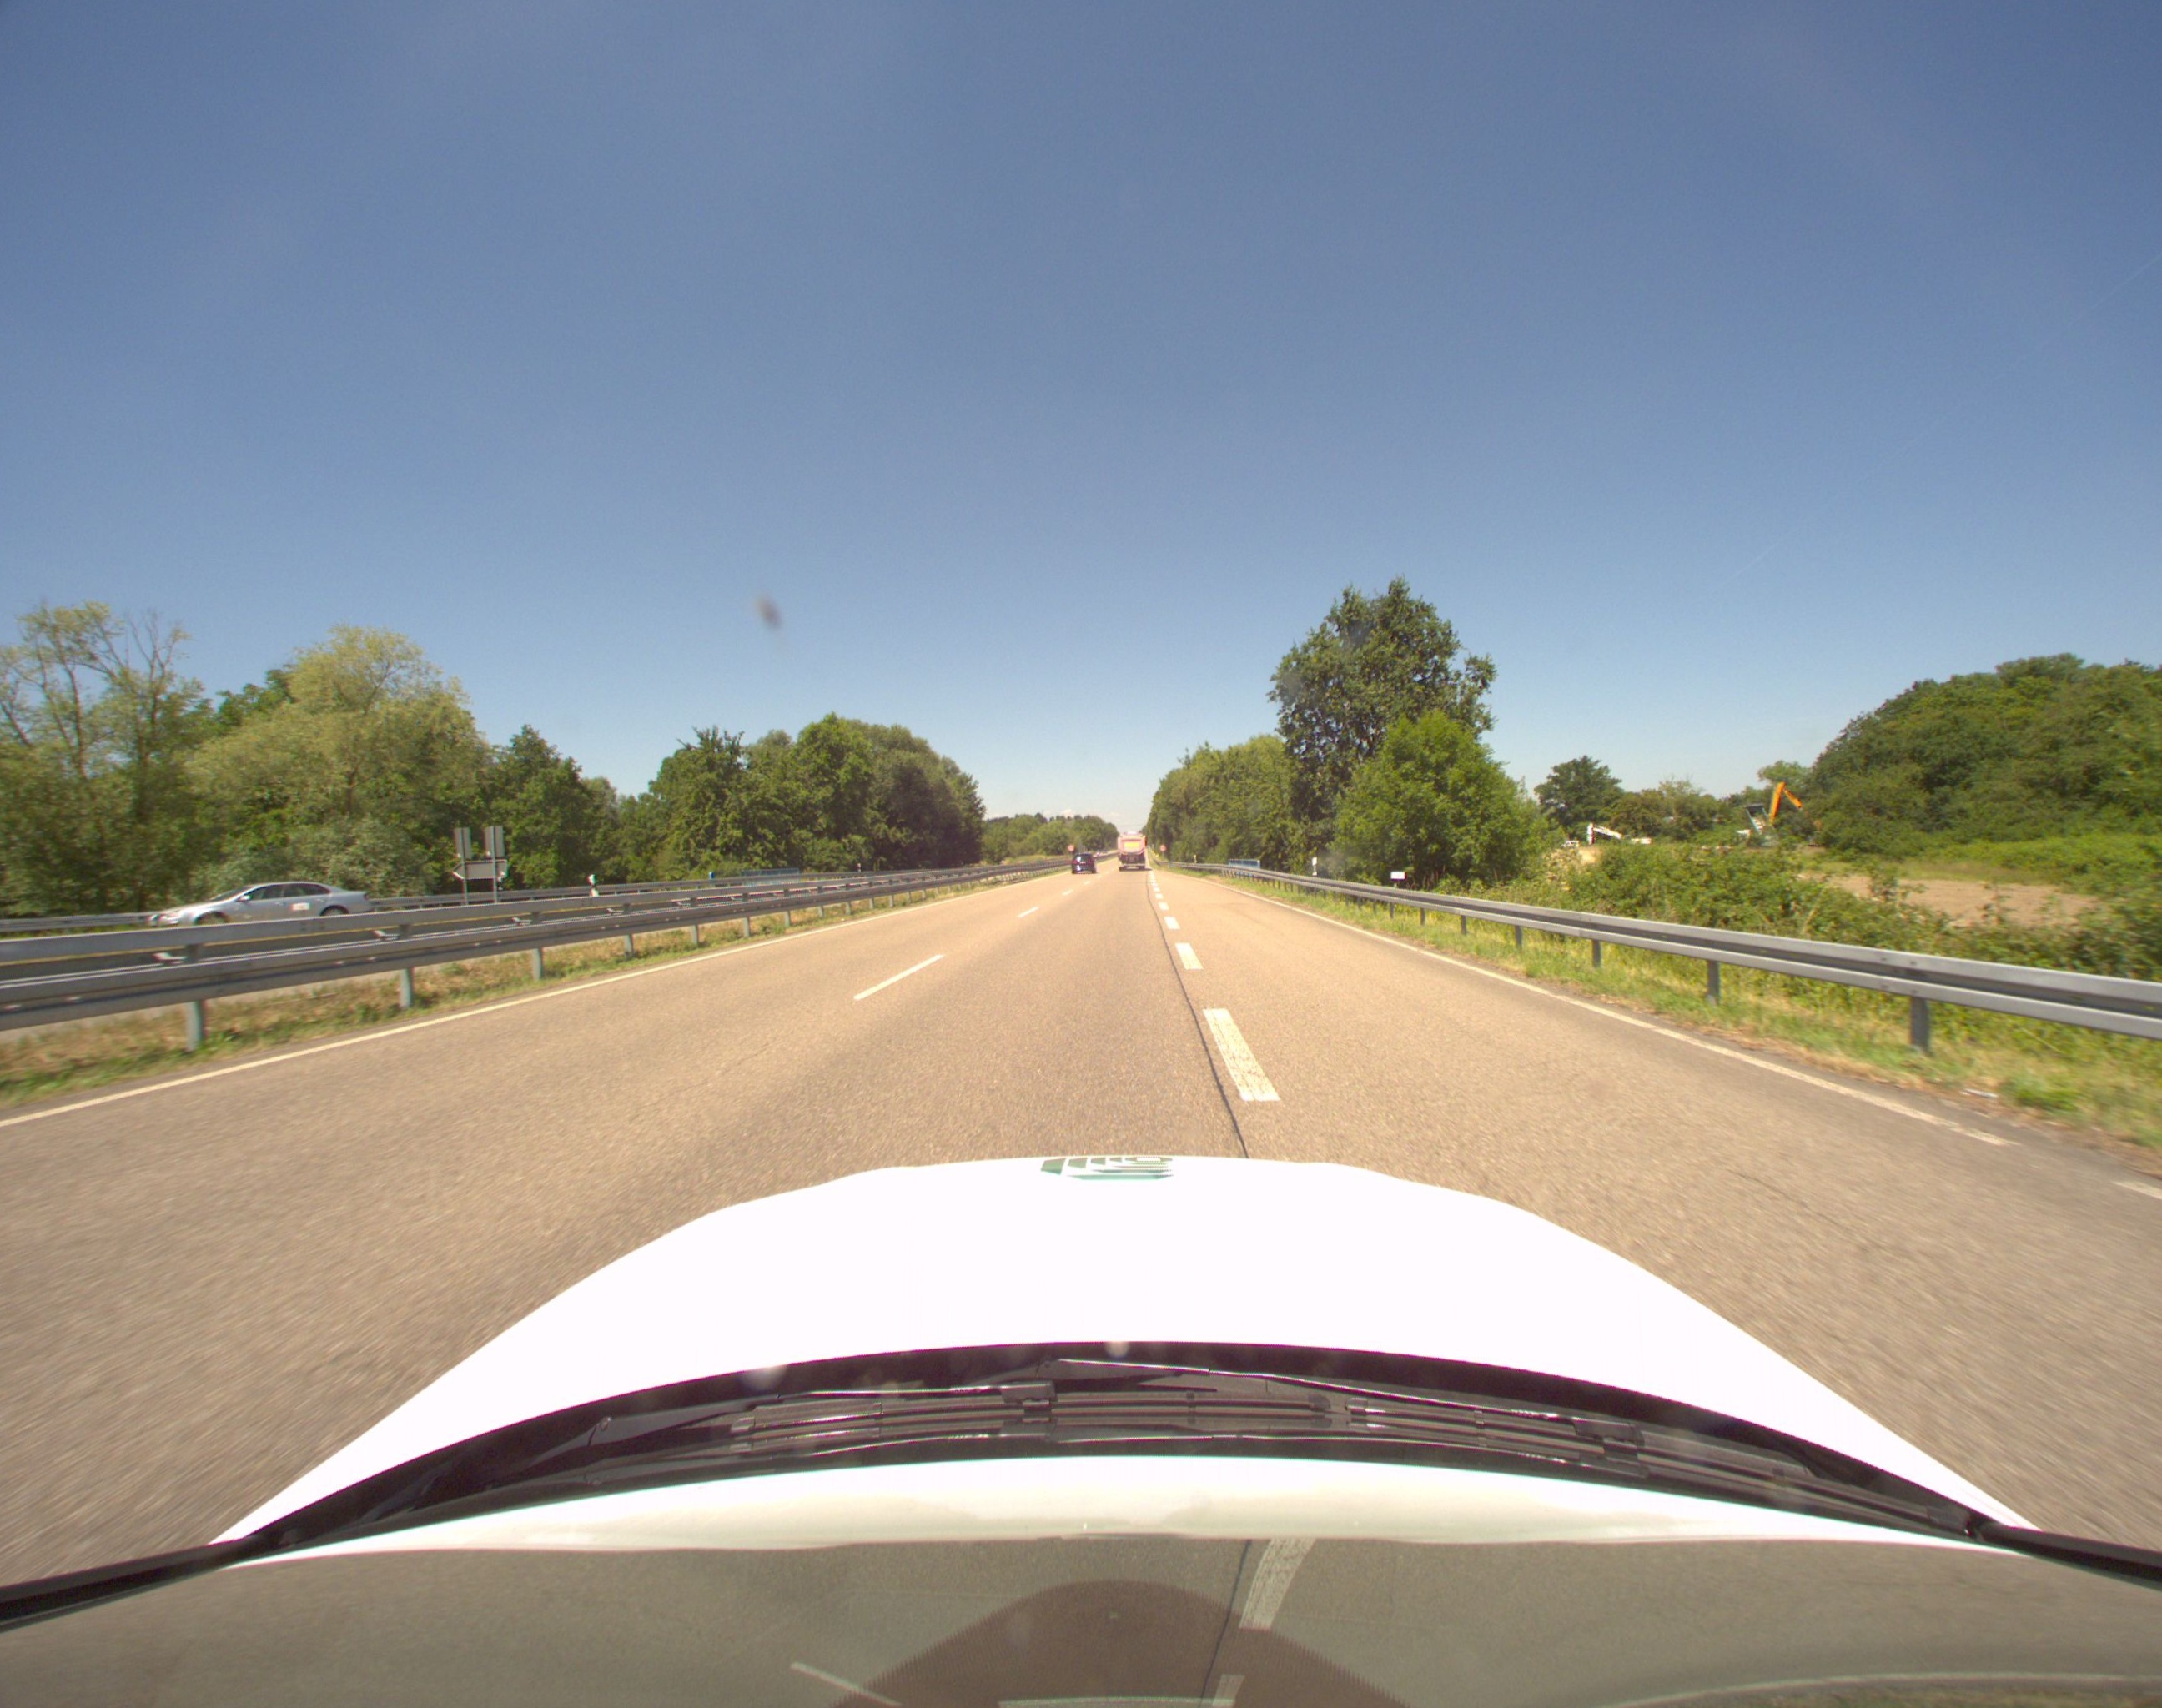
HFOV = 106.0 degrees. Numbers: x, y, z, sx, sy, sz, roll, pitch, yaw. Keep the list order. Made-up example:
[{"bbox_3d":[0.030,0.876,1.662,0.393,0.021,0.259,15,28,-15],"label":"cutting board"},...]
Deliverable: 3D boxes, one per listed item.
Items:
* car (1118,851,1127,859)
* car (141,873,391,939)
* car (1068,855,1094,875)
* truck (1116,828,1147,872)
[{"bbox_3d":[9.462,0.176,185.801,1.849,1.718,4.004,-1,-1,4],"label":"car"},{"bbox_3d":[-23.956,1.446,24.244,1.709,1.645,4.970,-1,0,24],"label":"car"},{"bbox_3d":[0.028,0.947,69.057,1.849,1.671,4.004,-1,-1,4],"label":"car"},{"bbox_3d":[5.001,-0.476,80.171,2.708,3.930,12.383,-1,1,4],"label":"truck"}]
